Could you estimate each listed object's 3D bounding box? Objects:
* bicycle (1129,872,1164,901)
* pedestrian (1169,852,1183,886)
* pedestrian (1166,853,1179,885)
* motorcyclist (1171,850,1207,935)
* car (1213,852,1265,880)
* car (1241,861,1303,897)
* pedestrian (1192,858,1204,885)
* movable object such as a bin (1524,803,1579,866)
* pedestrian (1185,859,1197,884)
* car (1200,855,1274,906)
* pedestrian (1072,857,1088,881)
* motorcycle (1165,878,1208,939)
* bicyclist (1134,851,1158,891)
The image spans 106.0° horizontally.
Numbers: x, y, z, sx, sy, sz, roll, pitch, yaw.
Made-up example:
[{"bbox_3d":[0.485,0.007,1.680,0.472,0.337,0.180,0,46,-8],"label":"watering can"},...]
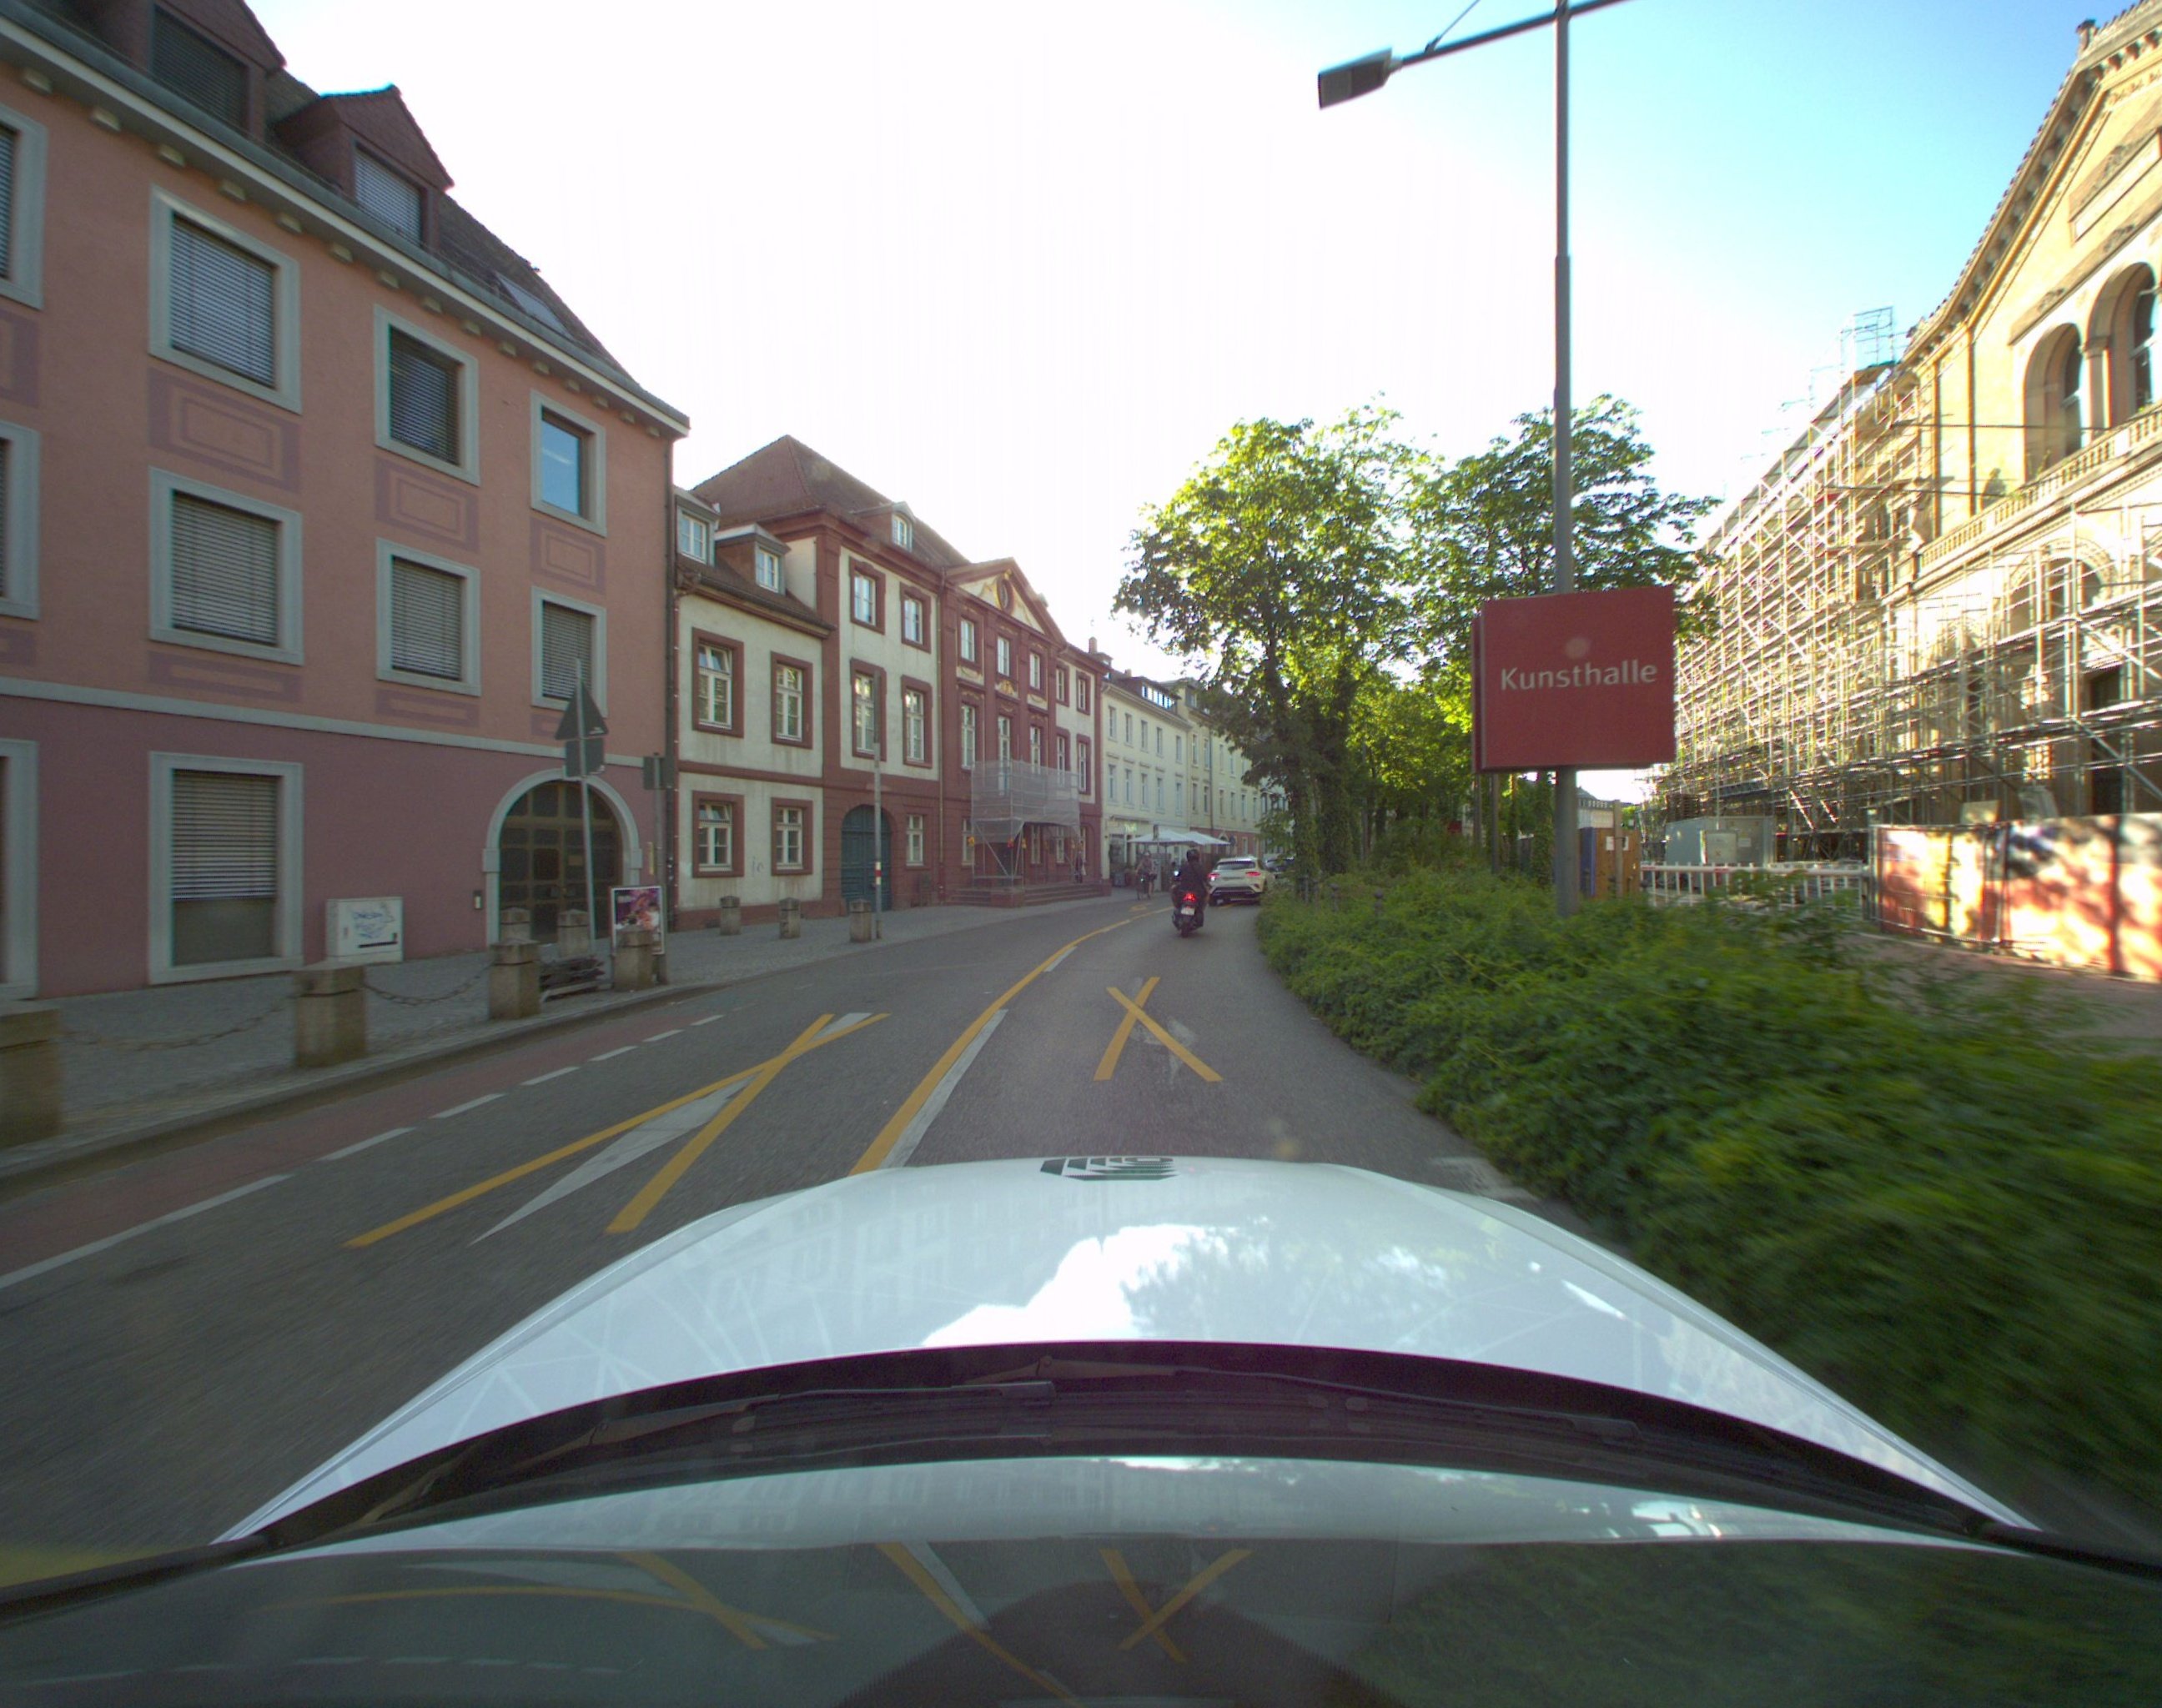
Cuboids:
[{"bbox_3d":[2.622,1.266,32.588,0.764,1.062,2.089,-1,0,22],"label":"bicycle"},{"bbox_3d":[5.045,0.796,43.170,0.590,1.775,0.442,-1,-1,33],"label":"pedestrian"},{"bbox_3d":[5.029,0.812,44.767,0.433,1.775,0.601,-1,-1,37],"label":"pedestrian"},{"bbox_3d":[2.136,0.746,16.106,0.653,1.650,0.652,-1,0,10],"label":"motorcyclist"},{"bbox_3d":[10.058,0.737,51.593,1.904,1.679,4.813,-2,-1,27],"label":"car"},{"bbox_3d":[8.615,1.056,36.509,1.823,1.463,4.081,0,0,26],"label":"car"},{"bbox_3d":[6.262,0.946,43.579,0.466,1.433,0.505,-1,0,29],"label":"pedestrian"},{"bbox_3d":[37.136,-1.455,64.176,3.275,4.539,7.955,-2,-1,33],"label":"movable object such as a bin"},{"bbox_3d":[6.108,0.972,45.135,0.518,1.391,0.491,-1,0,22],"label":"pedestrian"},{"bbox_3d":[5.156,0.791,26.513,1.836,1.480,4.077,0,0,18],"label":"car"},{"bbox_3d":[-0.040,0.657,35.623,0.532,1.053,0.554,0,0,20],"label":"pedestrian"},{"bbox_3d":[2.080,1.026,15.894,0.792,1.066,1.729,0,0,9],"label":"motorcycle"},{"bbox_3d":[2.600,0.664,32.513,0.737,1.583,0.799,0,0,22],"label":"bicyclist"}]
